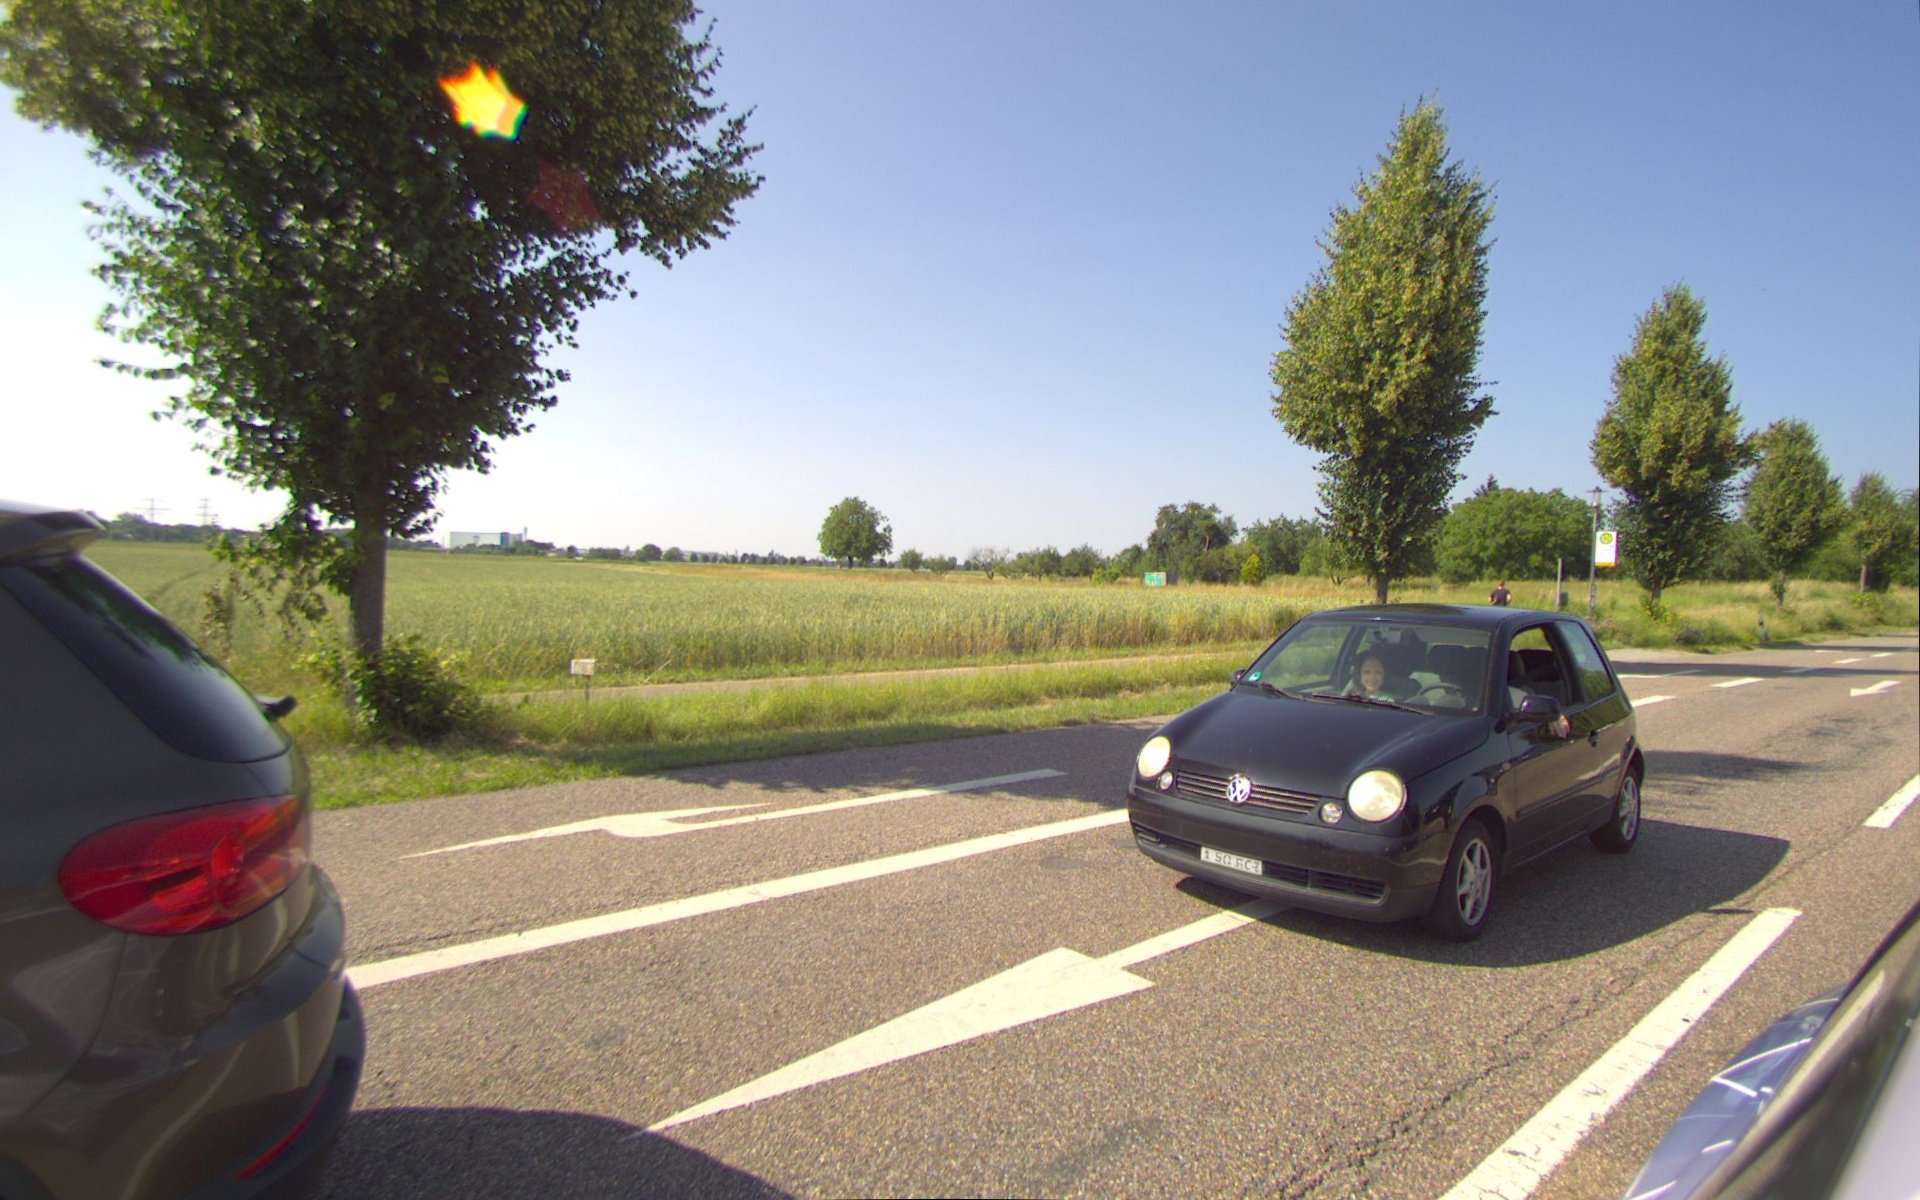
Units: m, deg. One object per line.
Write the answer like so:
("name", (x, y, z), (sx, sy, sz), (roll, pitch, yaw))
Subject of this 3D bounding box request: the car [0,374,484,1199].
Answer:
("car", (-2.891, 0.548, 0.997), (4.075, 1.676, 1.758), (0, 0, -42))

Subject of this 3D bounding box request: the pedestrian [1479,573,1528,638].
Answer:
("pedestrian", (16.234, 0.151, 30.211), (1.174, 1.862, 0.903), (0, 1, -43))

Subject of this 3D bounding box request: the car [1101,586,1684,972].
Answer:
("car", (2.565, 0.663, 5.612), (3.560, 1.451, 1.628), (0, 0, -42))
